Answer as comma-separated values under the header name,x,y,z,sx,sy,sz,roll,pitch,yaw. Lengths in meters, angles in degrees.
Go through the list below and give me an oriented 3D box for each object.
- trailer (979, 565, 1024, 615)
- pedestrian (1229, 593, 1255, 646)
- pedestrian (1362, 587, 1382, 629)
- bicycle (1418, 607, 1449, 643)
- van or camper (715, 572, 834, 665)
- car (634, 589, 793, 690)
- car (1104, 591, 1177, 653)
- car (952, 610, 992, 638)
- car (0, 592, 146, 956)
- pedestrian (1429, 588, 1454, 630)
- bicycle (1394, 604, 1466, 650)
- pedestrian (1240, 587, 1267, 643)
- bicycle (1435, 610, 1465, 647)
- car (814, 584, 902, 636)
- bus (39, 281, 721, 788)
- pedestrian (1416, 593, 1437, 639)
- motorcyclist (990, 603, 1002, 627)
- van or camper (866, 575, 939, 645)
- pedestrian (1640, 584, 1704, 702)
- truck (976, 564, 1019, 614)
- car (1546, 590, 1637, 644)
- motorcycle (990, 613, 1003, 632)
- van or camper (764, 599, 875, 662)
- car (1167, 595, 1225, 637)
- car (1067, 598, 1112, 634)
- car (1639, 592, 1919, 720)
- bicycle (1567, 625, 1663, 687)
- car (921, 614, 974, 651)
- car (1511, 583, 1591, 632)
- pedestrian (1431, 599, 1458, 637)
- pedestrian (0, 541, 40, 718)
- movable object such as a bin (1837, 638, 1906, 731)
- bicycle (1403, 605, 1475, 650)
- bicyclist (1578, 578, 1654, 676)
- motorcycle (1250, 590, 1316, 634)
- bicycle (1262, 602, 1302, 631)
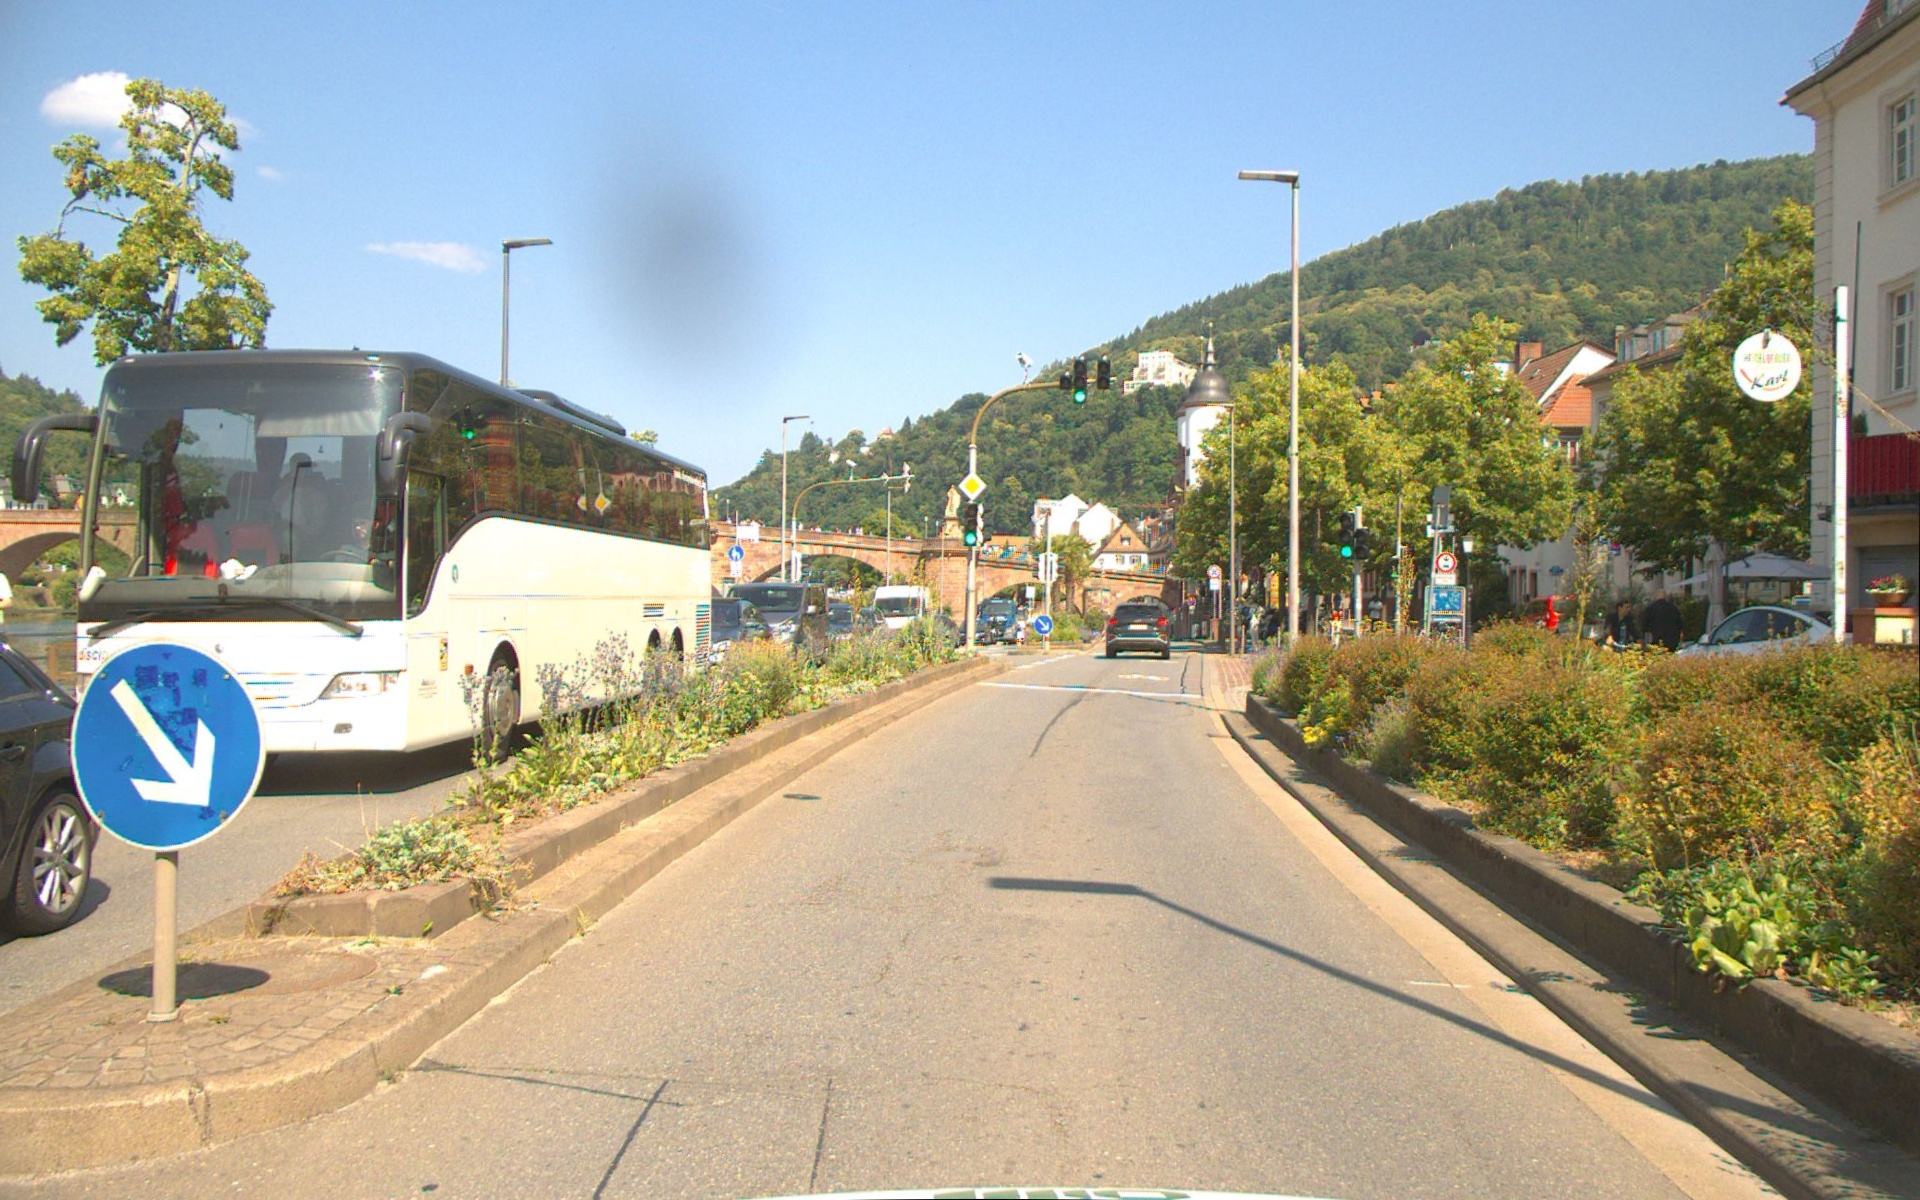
name,x,y,z,sx,sy,sz,roll,pitch,yaw
trailer,3.066,-0.721,119.837,2.601,3.463,8.832,0,0,6
pedestrian,9.334,0.645,54.825,0.679,1.706,0.764,-1,0,-2
pedestrian,16.426,0.323,65.948,0.692,1.682,0.707,0,0,6
bicycle,14.282,0.744,49.872,0.582,1.086,2.064,0,-1,25
van or camper,-4.038,0.387,36.830,1.952,1.906,5.180,0,0,1
car,-4.420,0.660,30.430,1.952,1.626,5.158,-2,0,2
car,4.983,0.575,46.155,1.886,1.580,4.835,1,1,5
car,0.700,1.368,93.086,1.911,1.437,4.221,-2,-2,5
car,-4.699,0.714,5.782,1.780,1.454,4.190,-1,0,-3
pedestrian,16.471,0.298,56.575,0.613,1.406,0.541,2,0,-2
bicycle,13.661,0.779,48.053,1.957,1.219,0.522,3,1,18
pedestrian,9.618,0.488,54.226,0.679,1.802,0.764,-1,0,-2
bicycle,14.702,0.849,49.567,0.582,1.086,2.064,0,-2,25
car,-2.979,0.288,49.280,1.911,1.433,4.573,-2,0,5
bus,-5.105,-0.416,18.372,2.576,3.626,12.985,0,-1,2
pedestrian,16.072,0.544,56.980,0.450,1.543,0.690,2,0,-2
motorcyclist,2.284,0.962,103.815,0.720,1.496,1.012,0,0,2
van or camper,-2.131,0.404,63.068,1.951,2.493,5.498,-1,-1,7
pedestrian,11.689,0.696,27.166,0.746,1.890,0.610,-1,0,-2
truck,2.623,-0.754,115.551,2.601,3.463,4.453,0,0,6
car,21.534,0.529,56.581,1.731,1.759,4.571,0,0,5
motorcycle,2.279,1.435,103.807,0.741,1.151,2.456,0,0,2
van or camper,-3.521,0.759,42.497,1.951,1.502,5.068,-1,-1,5
car,8.875,0.570,61.923,1.885,1.486,4.836,1,0,11
car,6.040,0.700,76.910,1.951,1.580,4.835,0,0,6
car,11.570,0.712,23.343,1.840,1.605,4.724,1,0,-3
bicycle,11.011,0.925,27.870,0.735,0.981,1.779,1,0,-8
car,-0.496,1.395,71.957,1.780,1.481,4.932,-2,0,5
car,24.538,0.294,68.833,1.952,1.935,4.636,0,0,4
pedestrian,16.309,0.601,55.695,0.679,1.274,0.764,0,0,-2
pedestrian,-10.118,0.296,17.293,0.608,1.811,0.662,1,0,-2
movable object such as a bin,10.914,1.009,19.807,0.627,1.086,0.365,0,0,6
bicycle,14.029,0.809,48.469,1.970,1.219,0.522,2,1,18
bicyclist,11.017,0.448,27.823,0.752,1.611,1.087,1,0,-8
motorcycle,11.359,0.430,58.255,0.758,1.491,2.262,1,-2,-43
bicycle,12.183,0.636,62.571,1.453,1.065,0.251,-1,-1,0
